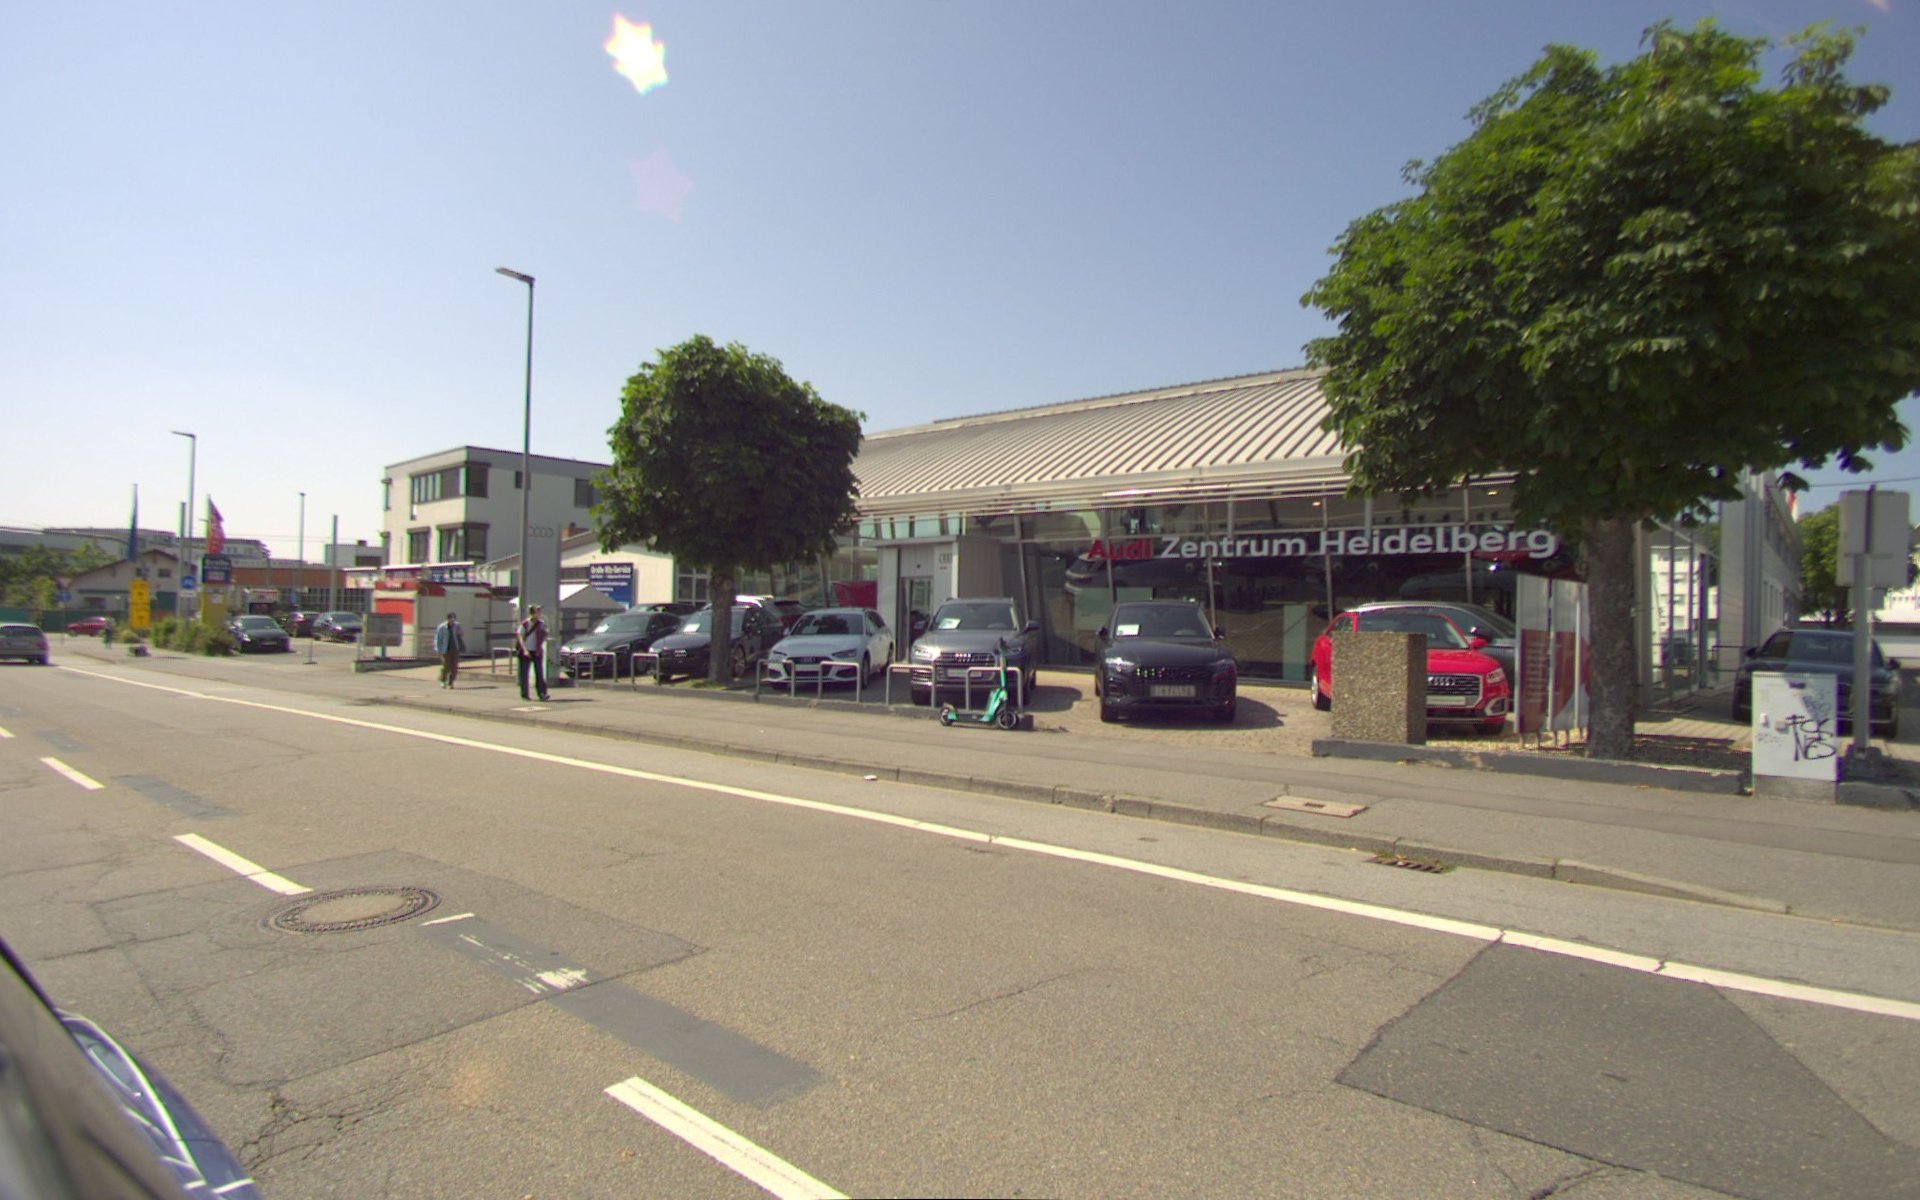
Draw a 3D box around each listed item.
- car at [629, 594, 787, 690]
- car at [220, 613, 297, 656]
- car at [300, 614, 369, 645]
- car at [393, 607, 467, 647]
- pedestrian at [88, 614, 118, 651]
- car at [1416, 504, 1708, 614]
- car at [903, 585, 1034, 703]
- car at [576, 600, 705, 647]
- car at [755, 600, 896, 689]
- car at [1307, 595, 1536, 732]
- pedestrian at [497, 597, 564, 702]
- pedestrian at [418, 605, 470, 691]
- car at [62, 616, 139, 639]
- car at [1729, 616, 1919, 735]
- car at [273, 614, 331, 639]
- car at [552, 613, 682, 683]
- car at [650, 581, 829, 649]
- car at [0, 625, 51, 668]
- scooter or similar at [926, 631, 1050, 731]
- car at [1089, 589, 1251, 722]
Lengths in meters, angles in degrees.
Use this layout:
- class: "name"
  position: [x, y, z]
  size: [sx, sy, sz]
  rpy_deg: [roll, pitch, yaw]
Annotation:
- class: "car"
  position: [-5.424, 0.835, 22.456]
  size: [1.941, 1.620, 4.476]
  rpy_deg: [-5, 2, 5]
- class: "car"
  position: [-29.999, 1.463, 43.240]
  size: [4.000, 1.728, 1.884]
  rpy_deg: [-1, -2, 43]
- class: "car"
  position: [-30.915, 1.453, 49.980]
  size: [4.420, 1.432, 1.886]
  rpy_deg: [-1, -2, 44]
- class: "car"
  position: [-25.556, 1.280, 48.708]
  size: [1.885, 1.721, 4.481]
  rpy_deg: [2, 0, -45]
- class: "pedestrian"
  position: [-39.734, 1.519, 46.949]
  size: [0.981, 1.698, 0.801]
  rpy_deg: [2, -2, -38]
- class: "car"
  position: [10.564, -0.616, 18.007]
  size: [1.967, 1.697, 4.009]
  rpy_deg: [1, -1, -36]
- class: "car"
  position: [0.280, 0.680, 17.118]
  size: [1.836, 1.709, 4.573]
  rpy_deg: [-1, -1, 5]
- class: "car"
  position: [-11.208, 0.804, 35.660]
  size: [1.897, 1.536, 3.944]
  rpy_deg: [-1, -1, 42]
- class: "car"
  position: [-2.478, 0.781, 19.730]
  size: [1.851, 1.506, 4.196]
  rpy_deg: [0, 0, 5]
- class: "car"
  position: [6.003, 0.757, 13.702]
  size: [1.839, 1.562, 3.987]
  rpy_deg: [-1, -1, 10]
- class: "pedestrian"
  position: [-7.967, 0.909, 18.758]
  size: [1.046, 1.882, 0.725]
  rpy_deg: [-1, -2, 40]
- class: "pedestrian"
  position: [-11.398, 1.047, 22.370]
  size: [0.911, 1.862, 0.715]
  rpy_deg: [-1, -2, 41]
- class: "car"
  position: [-64.601, 2.060, 76.161]
  size: [3.933, 1.719, 2.005]
  rpy_deg: [0, -1, -13]
- class: "car"
  position: [12.976, 1.008, 14.896]
  size: [3.422, 1.518, 1.887]
  rpy_deg: [1, -1, -39]
- class: "car"
  position: [-38.716, 1.542, 59.478]
  size: [4.486, 1.399, 1.886]
  rpy_deg: [-1, -2, 44]
- class: "car"
  position: [-8.161, 1.090, 24.474]
  size: [1.880, 1.470, 4.163]
  rpy_deg: [-1, 0, -2]
- class: "car"
  position: [-6.240, 0.410, 28.577]
  size: [4.706, 1.732, 1.983]
  rpy_deg: [-1, 2, 26]
- class: "car"
  position: [-32.921, 1.572, 34.883]
  size: [4.321, 1.415, 1.724]
  rpy_deg: [-1, -4, 41]
- class: "scooter or similar"
  position: [0.367, 1.045, 13.518]
  size: [1.486, 1.257, 0.738]
  rpy_deg: [-1, -1, 33]
- class: "car"
  position: [3.015, 0.715, 15.414]
  size: [1.887, 1.720, 4.474]
  rpy_deg: [-1, 0, 5]
